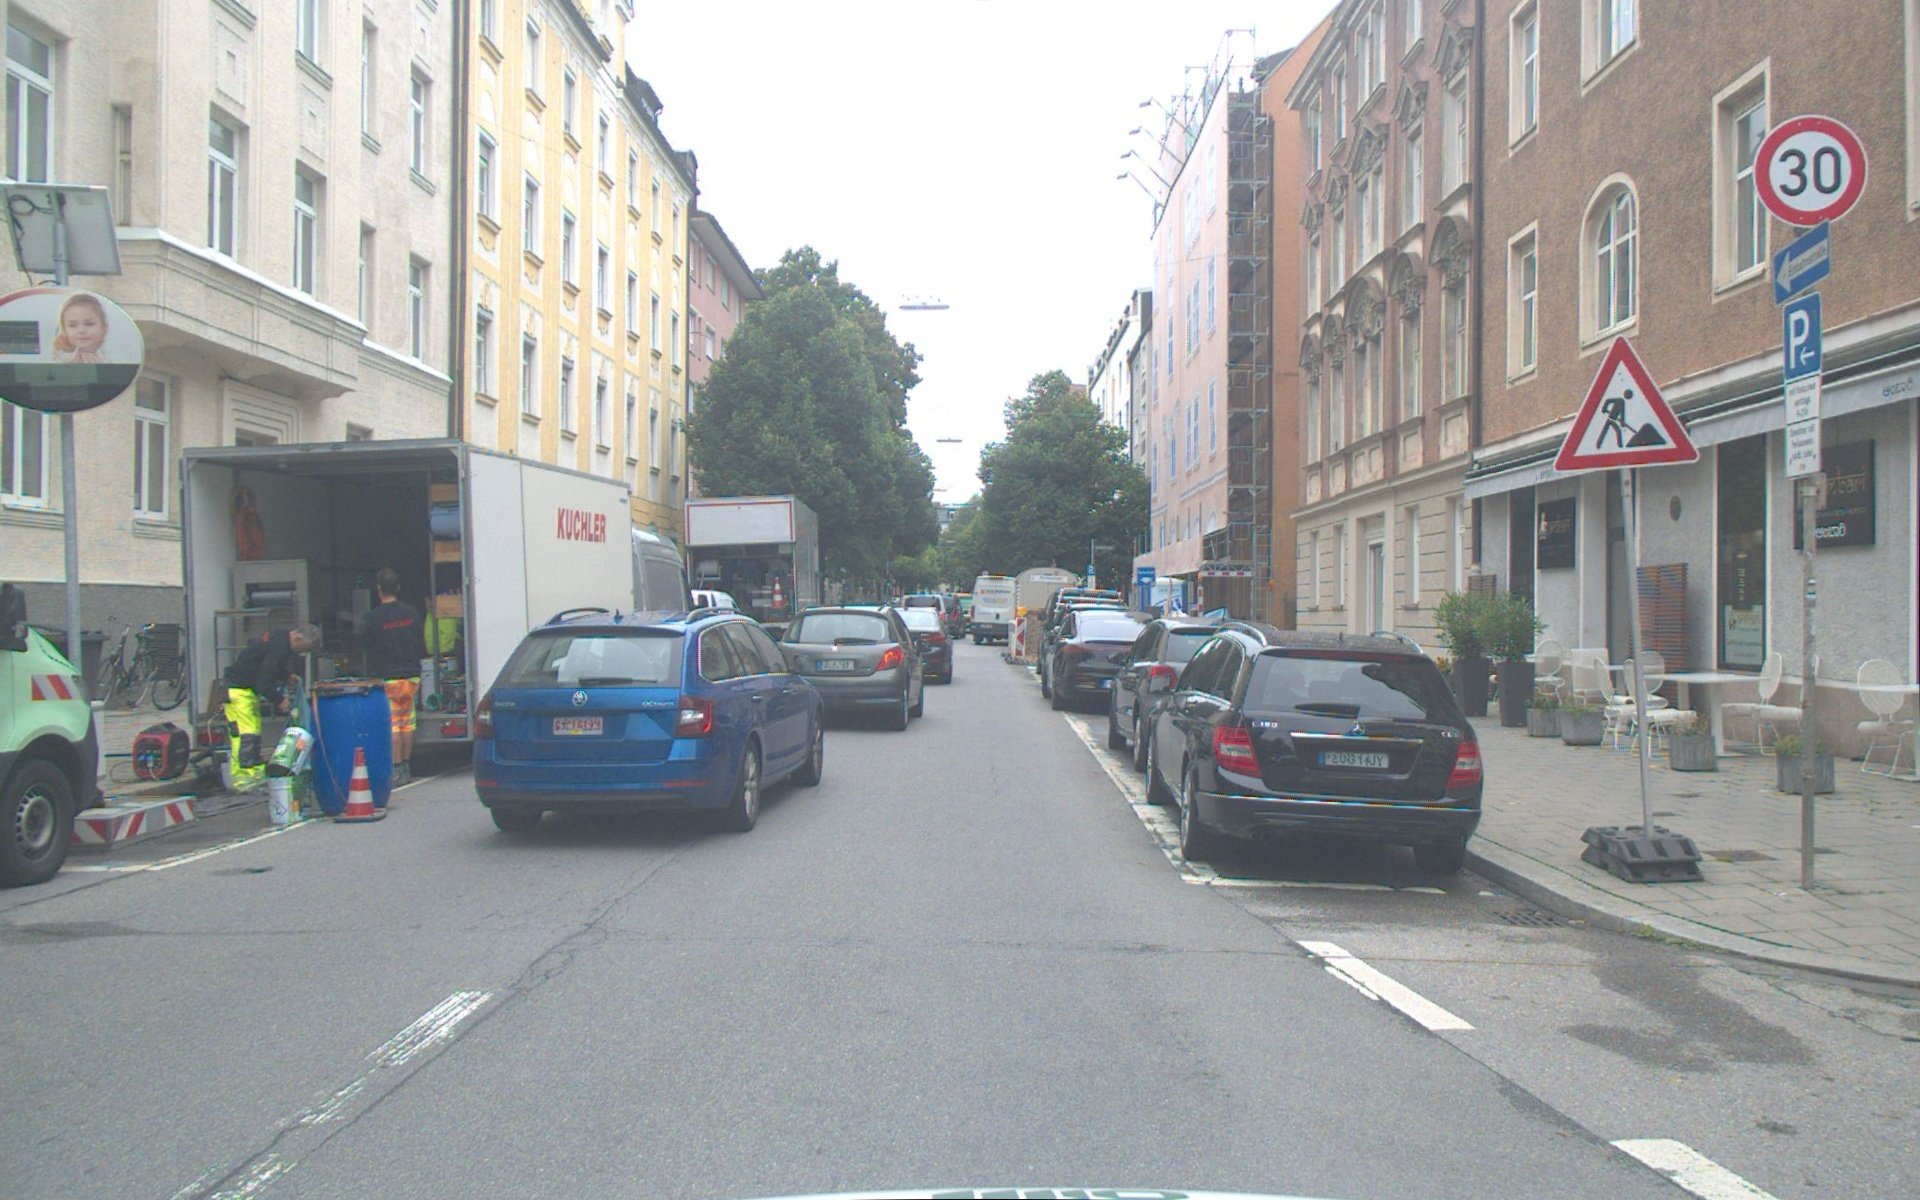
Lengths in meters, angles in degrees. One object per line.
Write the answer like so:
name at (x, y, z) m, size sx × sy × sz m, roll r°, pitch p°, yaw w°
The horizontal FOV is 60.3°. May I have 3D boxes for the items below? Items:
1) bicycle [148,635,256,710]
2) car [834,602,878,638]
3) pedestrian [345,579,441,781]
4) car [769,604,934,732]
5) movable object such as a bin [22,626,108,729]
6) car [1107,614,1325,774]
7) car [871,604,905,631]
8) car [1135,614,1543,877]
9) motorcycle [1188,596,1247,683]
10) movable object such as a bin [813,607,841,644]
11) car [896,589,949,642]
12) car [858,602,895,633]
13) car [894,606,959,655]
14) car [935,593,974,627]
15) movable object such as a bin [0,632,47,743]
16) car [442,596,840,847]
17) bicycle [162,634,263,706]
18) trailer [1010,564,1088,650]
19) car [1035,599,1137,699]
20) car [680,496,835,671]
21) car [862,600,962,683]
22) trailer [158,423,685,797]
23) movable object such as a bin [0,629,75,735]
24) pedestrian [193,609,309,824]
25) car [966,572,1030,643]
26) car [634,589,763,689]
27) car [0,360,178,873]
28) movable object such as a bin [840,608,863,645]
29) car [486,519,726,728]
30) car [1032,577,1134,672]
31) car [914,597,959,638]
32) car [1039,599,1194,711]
bicycle at (-10.059, 0.945, 22.000) m, size 0.386 × 0.930 × 1.589 m, roll 3°, pitch -1°, yaw 12°
car at (-4.612, 0.878, 73.861) m, size 1.775 × 1.504 × 3.999 m, roll 1°, pitch 0°, yaw -2°
pedestrian at (-4.787, 0.656, 13.981) m, size 0.750 × 1.659 × 0.634 m, roll 0°, pitch -1°, yaw -19°
car at (-1.274, 0.795, 20.787) m, size 1.705 × 1.446 × 3.665 m, roll 0°, pitch -1°, yaw 2°
movable object such as a bin at (-10.148, 0.872, 18.769) m, size 0.658 × 1.148 × 0.555 m, roll 0°, pitch -1°, yaw 3°
car at (2.462, 0.858, 16.792) m, size 1.540 × 1.419 × 4.182 m, roll 0°, pitch -1°, yaw 0°
car at (-4.193, 1.035, 96.635) m, size 1.775 × 1.504 × 4.000 m, roll 1°, pitch 0°, yaw 0°
car at (2.361, 0.826, 11.576) m, size 1.808 × 1.429 × 4.788 m, roll 0°, pitch 0°, yaw 1°
motorcycle at (4.709, 0.712, 30.368) m, size 0.853 × 1.531 × 1.998 m, roll 0°, pitch 0°, yaw 2°
movable object such as a bin at (-5.305, 1.014, 65.956) m, size 1.060 × 1.400 × 1.083 m, roll -2°, pitch 0°, yaw -4°
car at (-1.401, 0.568, 63.330) m, size 1.829 × 1.902 × 4.347 m, roll 2°, pitch 0°, yaw 0°
car at (-4.235, 0.890, 84.594) m, size 1.775 × 1.504 × 3.999 m, roll 1°, pitch 0°, yaw -2°
car at (-0.978, 0.898, 50.474) m, size 1.829 × 1.371 × 4.347 m, roll 2°, pitch 0°, yaw 0°
car at (-0.264, 0.489, 87.136) m, size 1.967 × 1.682 × 4.347 m, roll 2°, pitch 0°, yaw 0°
movable object such as a bin at (-10.233, 0.922, 17.608) m, size 0.662 × 1.148 × 0.639 m, roll 0°, pitch -1°, yaw 3°
car at (-2.069, 0.736, 12.025) m, size 1.751 × 1.486 × 4.317 m, roll 0°, pitch 0°, yaw 4°
bicycle at (-10.313, 0.948, 22.868) m, size 0.406 × 0.930 × 1.758 m, roll 3°, pitch -1°, yaw 5°
trailer at (3.158, 0.294, 60.153) m, size 2.451 × 2.890 × 6.901 m, roll 1°, pitch -1°, yaw 0°
car at (2.374, 0.912, 31.963) m, size 1.659 × 1.706 × 4.408 m, roll 3°, pitch -1°, yaw 1°
car at (-4.830, -0.337, 41.072) m, size 2.755 × 3.884 × 8.722 m, roll 0°, pitch -1°, yaw 0°
car at (-0.917, 0.783, 33.120) m, size 1.829 × 1.479 × 4.347 m, roll 2°, pitch 0°, yaw -1°
trailer at (-5.197, 0.055, 17.799) m, size 2.745 × 3.020 × 7.602 m, roll -3°, pitch 0°, yaw 3°
movable object such as a bin at (-10.209, 0.893, 18.198) m, size 0.635 × 1.148 × 0.555 m, roll 0°, pitch -1°, yaw 3°
pedestrian at (-5.470, 0.876, 12.793) m, size 0.749 × 1.608 × 0.634 m, roll 0°, pitch -1°, yaw -17°
car at (1.598, 0.343, 67.247) m, size 2.068 × 2.710 × 5.503 m, roll 2°, pitch -1°, yaw 6°
car at (-5.087, 0.733, 32.716) m, size 1.726 × 1.810 × 4.327 m, roll -2°, pitch 0°, yaw 1°
car at (-5.974, 0.076, 6.867) m, size 2.097 × 2.617 × 6.795 m, roll 0°, pitch 0°, yaw 1°
movable object such as a bin at (-4.329, 1.052, 66.040) m, size 0.900 × 1.400 × 1.079 m, roll -2°, pitch 0°, yaw -4°
car at (-5.164, 0.320, 25.297) m, size 2.014 × 2.632 × 6.876 m, roll -4°, pitch 0°, yaw 0°
car at (2.739, 0.637, 37.982) m, size 2.039 × 1.955 × 5.140 m, roll 1°, pitch -3°, yaw 1°
car at (-1.007, 0.747, 73.304) m, size 1.829 × 1.682 × 4.347 m, roll 2°, pitch 0°, yaw 0°
car at (2.384, 0.802, 26.576) m, size 1.891 × 1.580 × 5.636 m, roll 1°, pitch 0°, yaw 0°
